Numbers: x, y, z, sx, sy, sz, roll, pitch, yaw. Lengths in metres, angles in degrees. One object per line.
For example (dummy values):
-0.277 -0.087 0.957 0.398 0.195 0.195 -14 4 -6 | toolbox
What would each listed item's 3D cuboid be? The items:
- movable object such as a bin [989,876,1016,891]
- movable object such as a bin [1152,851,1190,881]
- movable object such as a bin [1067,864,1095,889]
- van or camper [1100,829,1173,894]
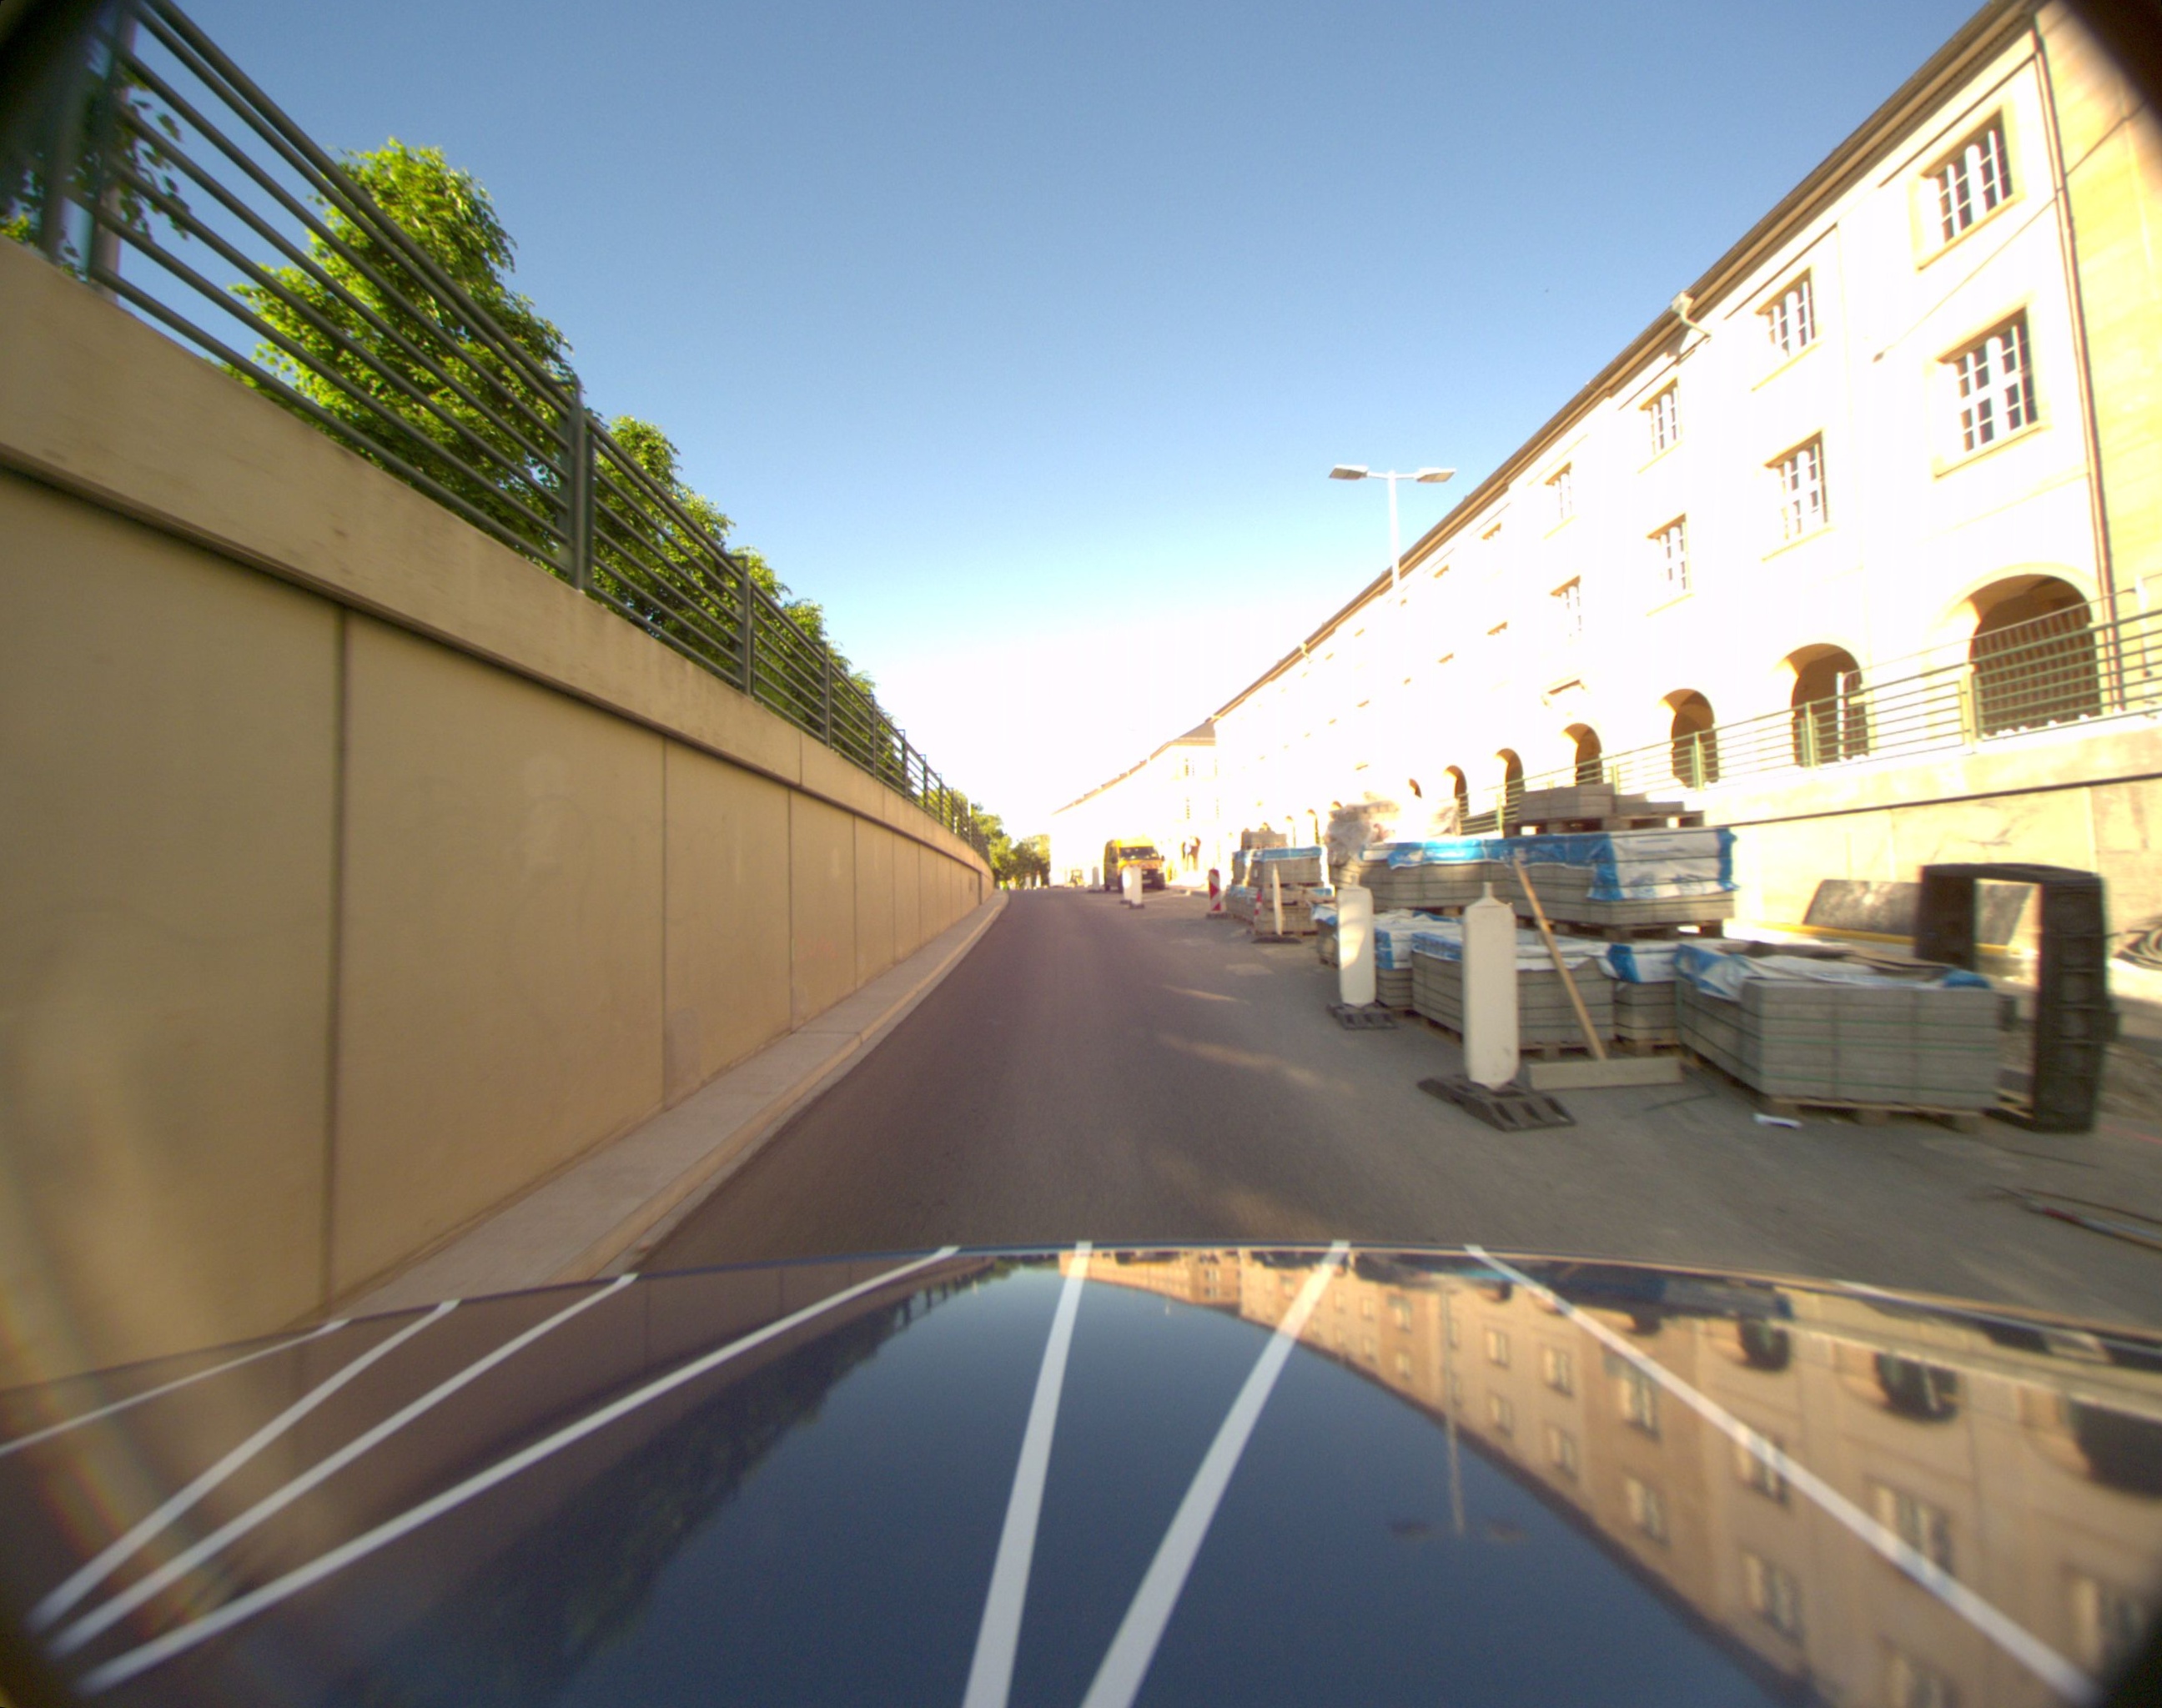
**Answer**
-10.776 4.083 104.603 3.248 2.063 2.107 1 -3 -24 | movable object such as a bin
7.391 1.058 62.727 2.106 2.380 4.307 1 -2 -7 | movable object such as a bin
-0.023 2.372 79.734 1.797 2.437 4.533 0 -3 -14 | movable object such as a bin
2.439 0.362 35.585 2.200 2.597 6.822 -4 0 -5 | van or camper
